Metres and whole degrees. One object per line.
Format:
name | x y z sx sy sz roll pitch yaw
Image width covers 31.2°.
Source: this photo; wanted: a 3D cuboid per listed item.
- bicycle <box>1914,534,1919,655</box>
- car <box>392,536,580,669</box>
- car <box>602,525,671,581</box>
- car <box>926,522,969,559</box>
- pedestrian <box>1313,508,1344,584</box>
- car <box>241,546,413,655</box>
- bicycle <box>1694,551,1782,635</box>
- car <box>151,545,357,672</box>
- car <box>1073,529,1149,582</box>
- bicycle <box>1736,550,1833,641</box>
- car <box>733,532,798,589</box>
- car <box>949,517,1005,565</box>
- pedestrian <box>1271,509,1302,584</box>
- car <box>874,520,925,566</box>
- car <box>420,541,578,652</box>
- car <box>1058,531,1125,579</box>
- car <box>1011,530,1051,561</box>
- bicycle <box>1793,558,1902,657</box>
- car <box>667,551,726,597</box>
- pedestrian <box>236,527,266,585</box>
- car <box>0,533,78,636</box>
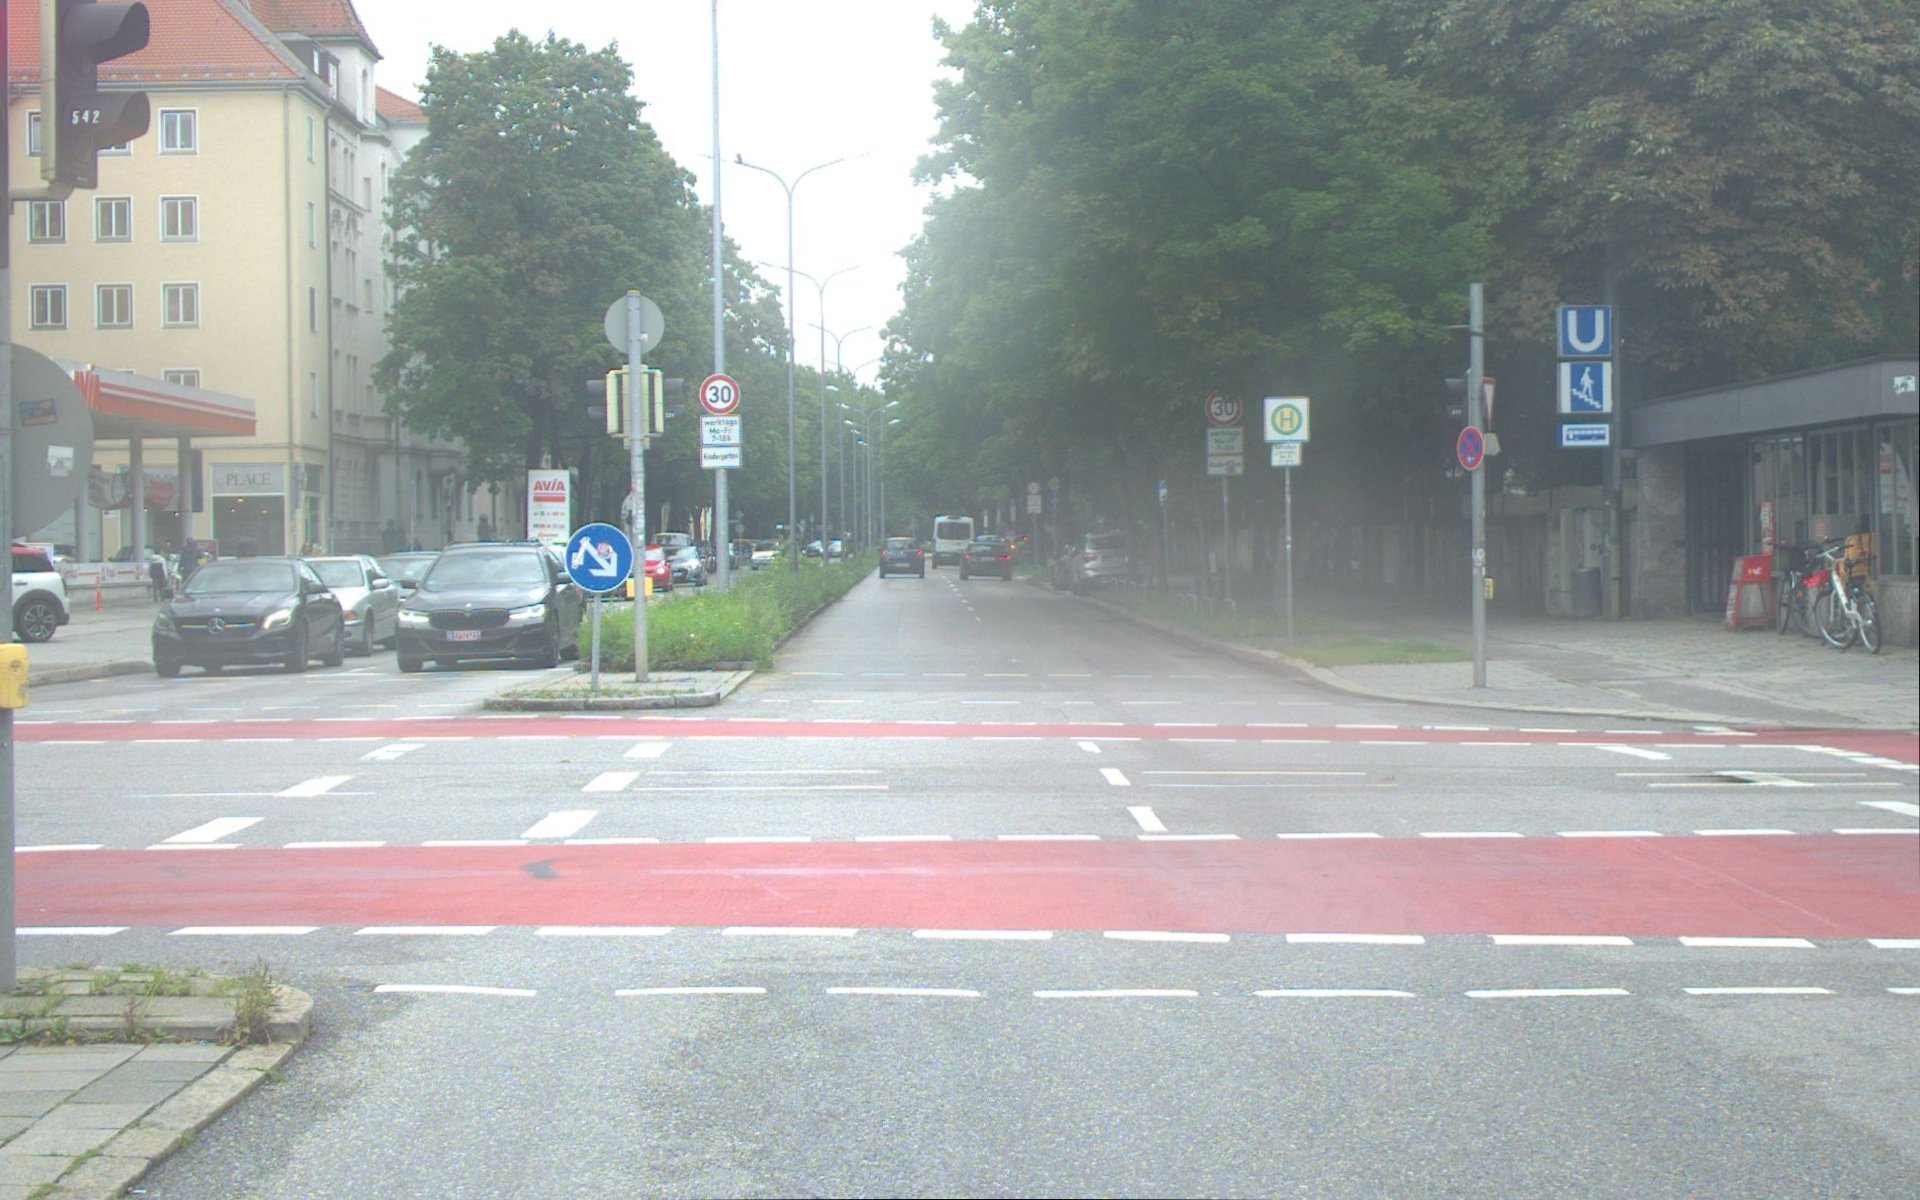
bicycle | 10.702 -0.064 34.437 2.143 1.214 0.603 0 1 8
car | -5.649 -0.006 41.366 1.759 1.488 4.000 -1 1 -1
car | -9.853 -1.444 104.926 1.876 1.662 4.001 -1 1 -3
car | -0.629 -2.884 165.648 1.993 1.750 4.000 -1 1 -1
pedestrian | 8.246 -1.208 76.961 0.678 1.677 0.682 0 1 6
car | -8.997 -0.025 49.147 1.759 1.455 4.000 -1 1 -1
bicycle | 9.745 -0.099 43.102 0.556 1.011 2.016 -1 1 -3
car | -8.626 0.067 42.302 1.759 1.455 4.000 -1 1 -1
car | 3.957 -1.190 90.539 1.743 1.358 3.807 -1 1 -1
bicycle | 9.504 -0.065 39.684 0.556 1.011 2.016 -1 1 -3
car | -4.869 -1.008 86.305 1.468 1.394 3.700 -1 1 -1
car | 0.606 -2.123 124.812 1.922 1.678 4.000 1 1 0
pedestrian | 7.285 -1.194 76.807 0.678 1.677 0.682 0 1 6
car | -2.273 -2.157 128.448 1.857 1.678 4.000 -1 1 -1
car | -6.535 -0.080 49.060 1.759 1.488 4.000 -1 1 -1
car | 3.837 -1.328 100.666 1.743 1.358 3.807 -1 1 -1
car | 3.298 -2.542 160.394 1.743 1.422 3.899 -1 1 -1
bicycle | 9.525 0.064 36.954 0.556 1.011 2.016 -1 1 -3
car | -9.017 -0.903 117.948 1.759 1.488 4.000 -1 1 -1
pedestrian | -20.218 -1.262 98.042 0.696 1.632 0.738 -1 1 0
car | -16.098 -0.227 54.091 1.815 1.603 3.958 1 2 42
